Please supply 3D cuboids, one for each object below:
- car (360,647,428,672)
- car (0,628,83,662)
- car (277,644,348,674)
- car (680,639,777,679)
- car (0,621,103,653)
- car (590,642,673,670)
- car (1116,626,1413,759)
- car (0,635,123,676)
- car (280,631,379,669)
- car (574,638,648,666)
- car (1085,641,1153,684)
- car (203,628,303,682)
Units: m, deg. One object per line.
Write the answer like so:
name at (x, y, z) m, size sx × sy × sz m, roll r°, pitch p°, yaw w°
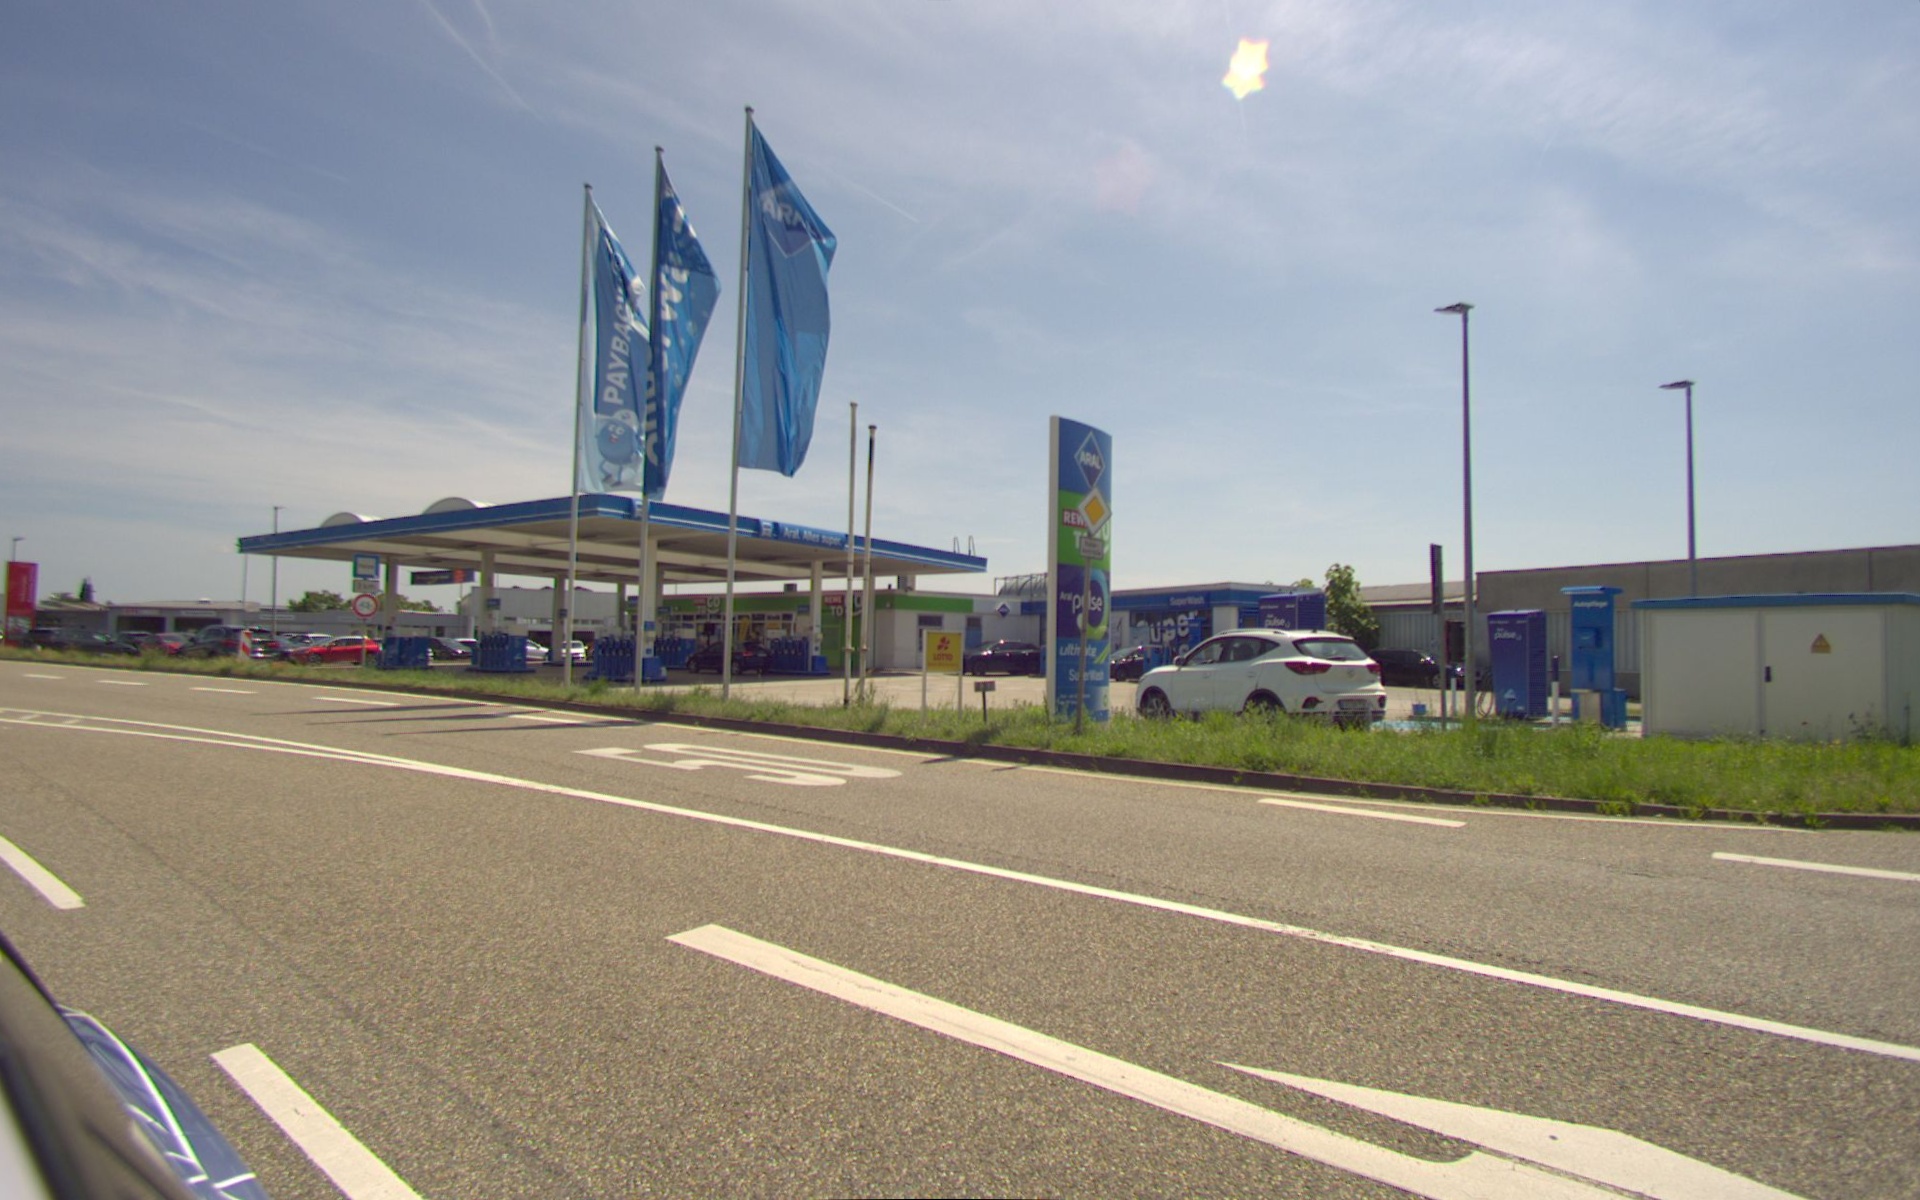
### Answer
car at (-34.152, 3.575, 61.040) m, size 3.983 × 1.406 × 1.695 m, roll -1°, pitch -3°, yaw 29°
car at (-46.571, 2.259, 50.566) m, size 1.757 × 1.598 × 4.181 m, roll 1°, pitch -3°, yaw 0°
car at (-36.308, 3.291, 56.733) m, size 3.983 × 1.547 × 1.695 m, roll -1°, pitch -3°, yaw 29°
car at (-9.722, 2.469, 42.353) m, size 4.098 × 1.489 × 1.587 m, roll 0°, pitch -5°, yaw 36°
car at (-44.240, 1.813, 48.993) m, size 1.799 × 1.497 × 3.990 m, roll 0°, pitch -3°, yaw 8°
car at (-17.248, 2.897, 53.101) m, size 4.374 × 1.389 × 1.975 m, roll -1°, pitch -4°, yaw 36°
car at (4.473, 1.289, 15.645) m, size 1.836 × 1.725 × 4.534 m, roll 2°, pitch -2°, yaw -25°
car at (-39.914, 2.434, 45.084) m, size 1.817 × 1.717 × 3.998 m, roll 1°, pitch -2°, yaw 1°
car at (-33.390, 2.662, 53.648) m, size 1.995 × 1.918 × 3.954 m, roll -1°, pitch -3°, yaw 34°
car at (-21.423, 3.177, 62.292) m, size 1.943 × 1.652 × 3.955 m, roll -1°, pitch -3°, yaw 33°
car at (6.502, 2.516, 41.108) m, size 1.933 × 1.619 × 3.971 m, roll 0°, pitch -3°, yaw 21°
car at (-24.334, 1.883, 35.023) m, size 1.803 × 1.732 × 4.584 m, roll 2°, pitch -3°, yaw -22°
